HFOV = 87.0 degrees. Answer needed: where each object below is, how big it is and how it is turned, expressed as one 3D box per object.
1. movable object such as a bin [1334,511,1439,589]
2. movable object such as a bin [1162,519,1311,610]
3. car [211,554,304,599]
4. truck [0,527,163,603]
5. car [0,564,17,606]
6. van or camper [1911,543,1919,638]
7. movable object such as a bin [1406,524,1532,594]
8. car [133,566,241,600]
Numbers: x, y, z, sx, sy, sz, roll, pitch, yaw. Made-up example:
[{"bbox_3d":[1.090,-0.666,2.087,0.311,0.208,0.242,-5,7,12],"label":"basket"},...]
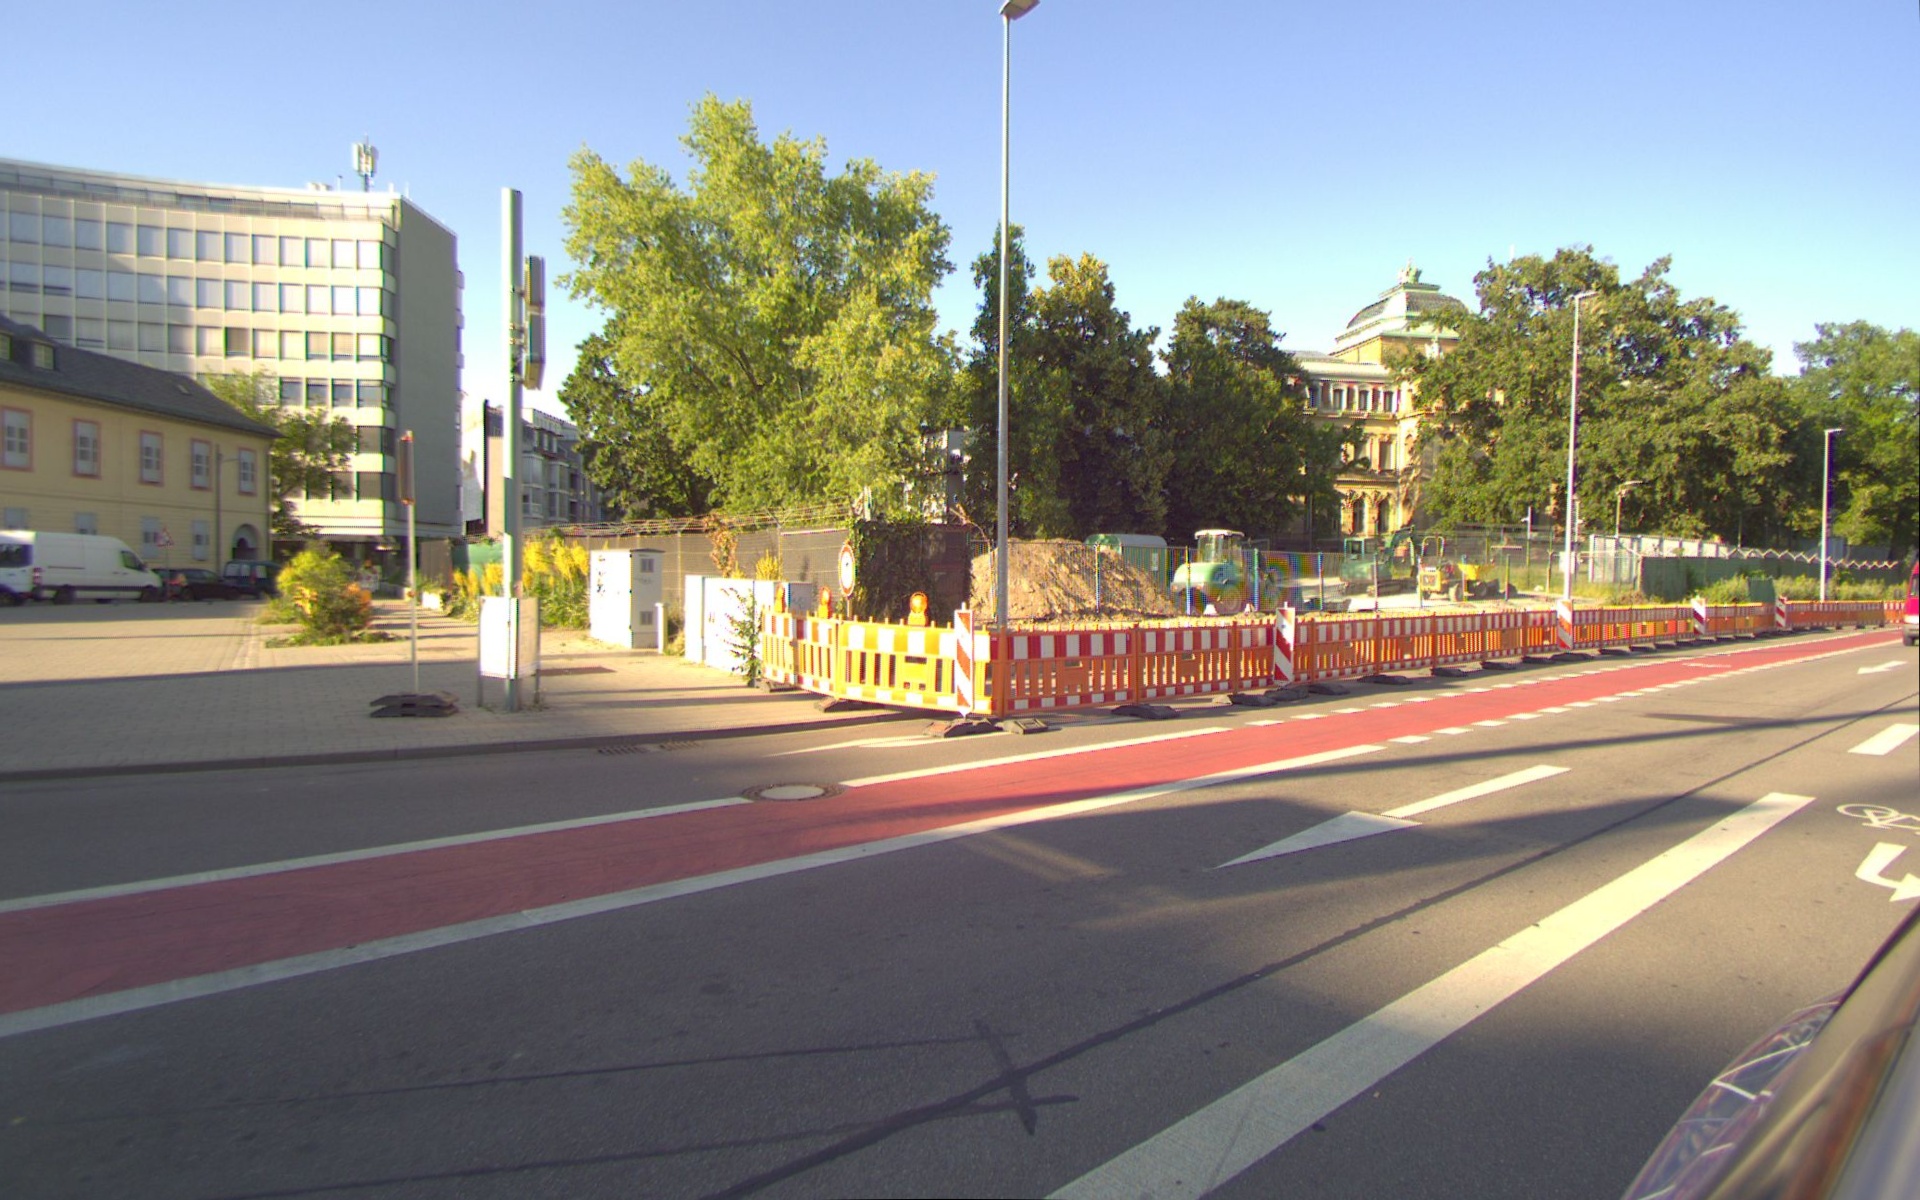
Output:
[{"bbox_3d":[19.676,-2.243,46.573,5.274,3.371,1.999,-1,1,-36],"label":"movable object such as a bin"},{"bbox_3d":[8.934,-1.099,32.520,4.920,2.717,1.999,-1,1,-36],"label":"movable object such as a bin"},{"bbox_3d":[-32.872,-1.105,47.480,1.682,2.005,3.761,-1,1,1],"label":"car"},{"bbox_3d":[-32.812,-1.221,37.365,2.258,2.580,5.638,-1,1,1],"label":"truck"},{"bbox_3d":[-32.336,-0.463,31.673,1.682,1.381,4.194,-1,1,1],"label":"car"},{"bbox_3d":[28.712,-0.306,28.652,5.811,2.560,1.997,-1,1,-41],"label":"van or camper"},{"bbox_3d":[21.941,-1.738,43.552,5.750,2.851,2.002,-1,1,-30],"label":"movable object such as a bin"},{"bbox_3d":[-32.823,-0.729,43.127,1.682,1.381,3.761,-1,1,1],"label":"car"}]
